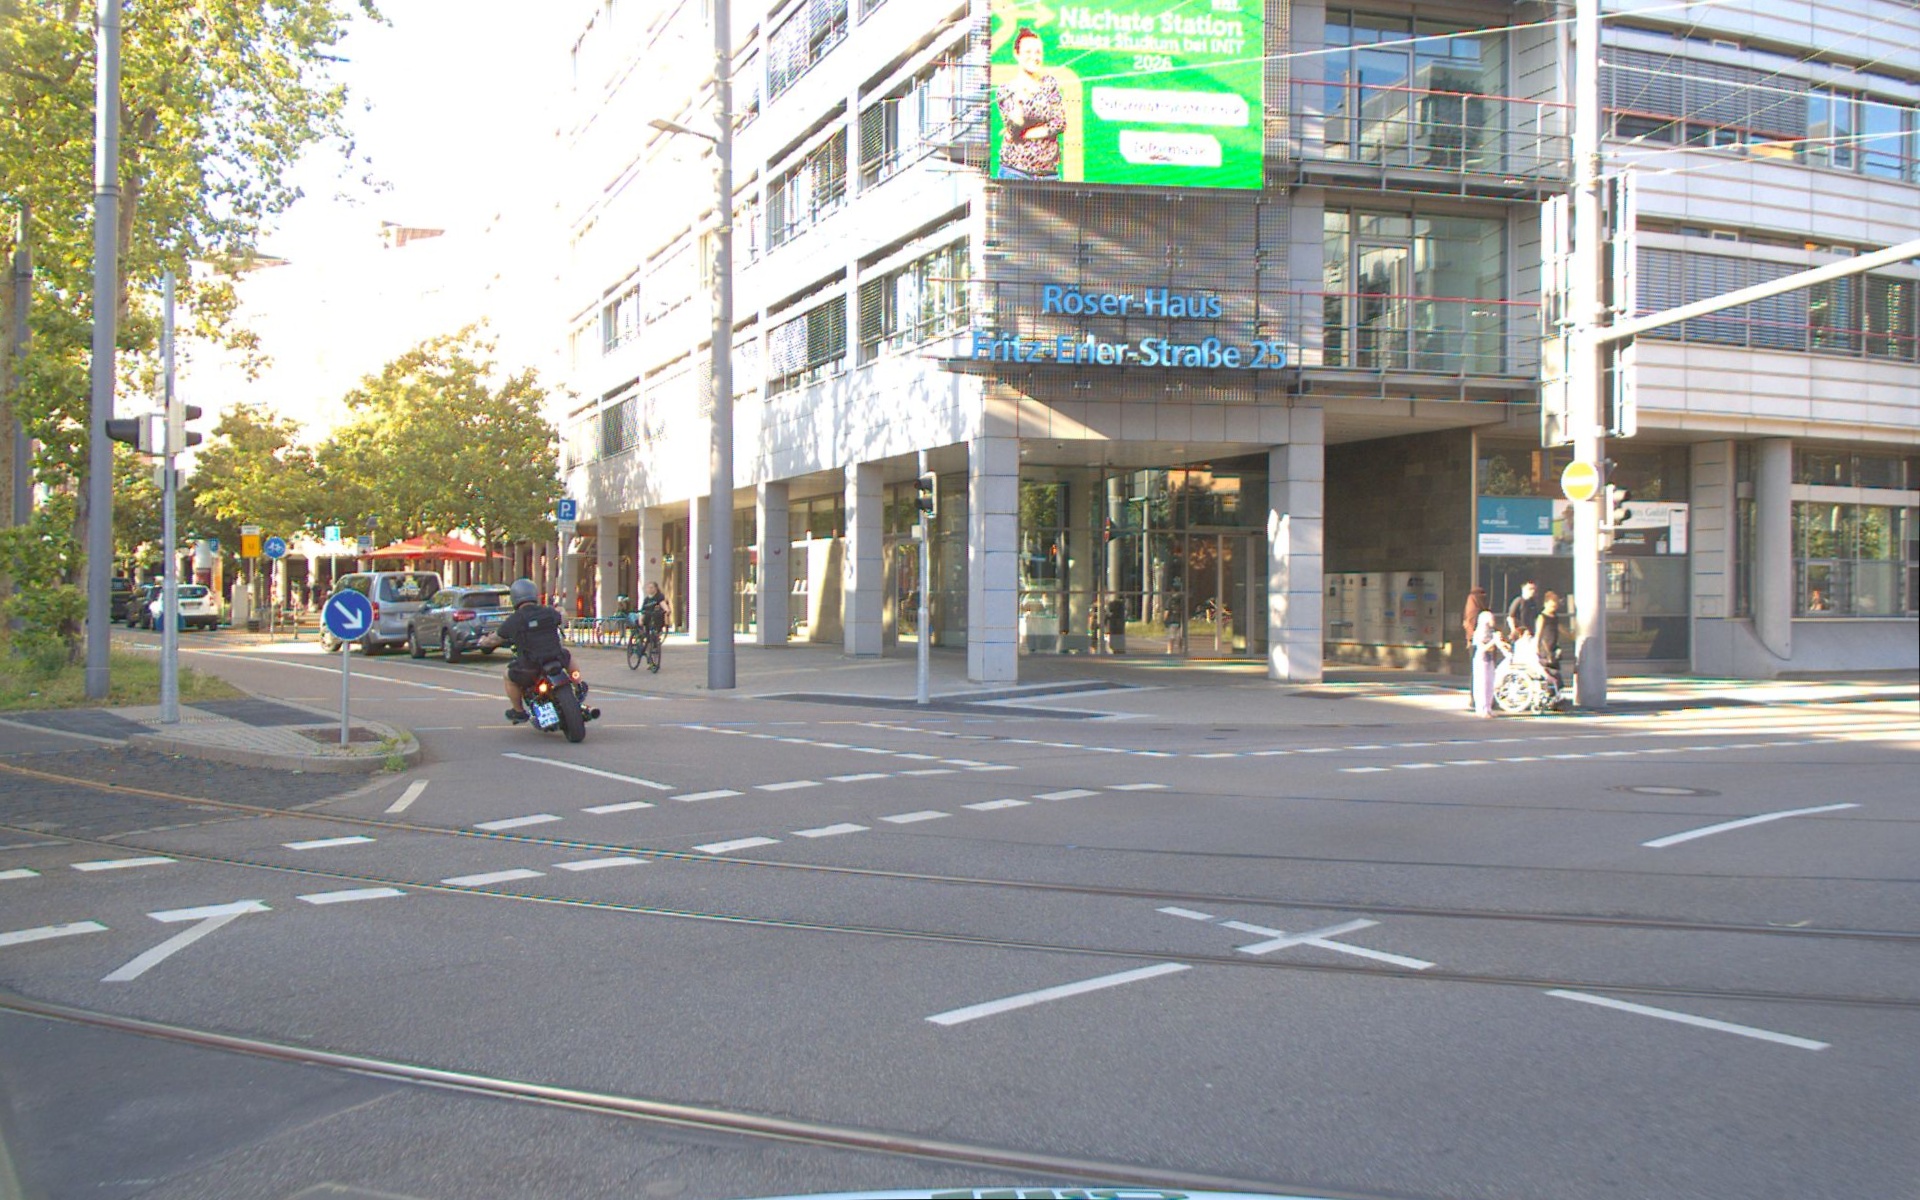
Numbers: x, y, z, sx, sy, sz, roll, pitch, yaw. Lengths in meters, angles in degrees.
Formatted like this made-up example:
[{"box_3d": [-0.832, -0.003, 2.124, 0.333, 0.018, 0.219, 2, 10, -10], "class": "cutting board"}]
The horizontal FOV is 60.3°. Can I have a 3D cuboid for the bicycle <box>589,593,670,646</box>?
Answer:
[{"box_3d": [-7.844, 0.449, 39.292, 1.814, 1.171, 0.465, -2, 1, -31], "class": "bicycle"}]

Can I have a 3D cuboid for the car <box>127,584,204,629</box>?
[{"box_3d": [-30.704, 0.228, 63.868, 1.972, 1.657, 4.032, -1, 1, -36], "class": "car"}]

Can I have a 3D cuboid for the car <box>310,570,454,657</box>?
[{"box_3d": [-13.954, 0.288, 39.766, 1.907, 1.875, 4.862, -3, 2, -36], "class": "car"}]

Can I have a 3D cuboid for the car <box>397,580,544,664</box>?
[{"box_3d": [-10.551, 0.418, 35.441, 1.842, 1.600, 4.365, -3, 2, -33], "class": "car"}]

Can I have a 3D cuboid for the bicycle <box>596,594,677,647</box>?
[{"box_3d": [-7.604, 0.462, 38.884, 1.814, 1.171, 0.465, -2, 1, -31], "class": "bicycle"}]

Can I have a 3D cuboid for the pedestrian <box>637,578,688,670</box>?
[{"box_3d": [-5.492, 0.428, 30.552, 0.599, 1.639, 0.827, -4, 3, -34], "class": "pedestrian"}]

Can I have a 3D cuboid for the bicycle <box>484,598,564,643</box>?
[{"box_3d": [-11.144, 0.507, 42.280, 1.855, 1.120, 0.730, 0, 0, -40], "class": "bicycle"}]

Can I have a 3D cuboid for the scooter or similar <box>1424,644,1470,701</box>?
[{"box_3d": [7.431, 1.104, 25.221, 0.603, 0.804, 0.660, 1, 1, 22], "class": "scooter or similar"}]

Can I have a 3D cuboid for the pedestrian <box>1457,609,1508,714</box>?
[{"box_3d": [7.271, 0.845, 22.997, 0.623, 1.426, 0.546, 0, 0, 23], "class": "pedestrian"}]

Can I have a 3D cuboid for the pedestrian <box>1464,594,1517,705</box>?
[{"box_3d": [7.980, 0.730, 24.872, 0.687, 1.628, 0.660, 1, 1, 22], "class": "pedestrian"}]

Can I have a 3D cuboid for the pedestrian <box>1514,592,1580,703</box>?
[{"box_3d": [8.893, 0.706, 25.064, 0.645, 1.645, 0.716, 0, 0, -29], "class": "pedestrian"}]

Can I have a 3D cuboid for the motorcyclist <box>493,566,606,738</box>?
[{"box_3d": [-4.015, 0.474, 16.127, 1.006, 1.579, 1.281, 0, 1, -17], "class": "motorcyclist"}]

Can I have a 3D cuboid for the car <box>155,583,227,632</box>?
[{"box_3d": [-27.469, 0.243, 59.009, 1.842, 1.666, 3.824, -1, 1, -33], "class": "car"}]

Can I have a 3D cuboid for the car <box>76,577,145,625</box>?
[{"box_3d": [-37.593, 0.010, 73.130, 2.015, 2.011, 4.357, -1, 1, -36], "class": "car"}]

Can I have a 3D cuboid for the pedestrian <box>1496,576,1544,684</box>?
[{"box_3d": [9.243, 0.484, 27.290, 0.632, 1.745, 0.689, 0, 0, 31], "class": "pedestrian"}]

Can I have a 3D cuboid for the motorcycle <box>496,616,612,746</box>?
[{"box_3d": [-3.995, 0.740, 16.144, 0.989, 1.145, 2.312, 0, 0, -17], "class": "motorcycle"}]

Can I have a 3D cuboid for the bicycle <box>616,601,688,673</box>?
[{"box_3d": [-5.664, 0.659, 30.372, 0.605, 1.183, 1.826, -4, 4, -33], "class": "bicycle"}]

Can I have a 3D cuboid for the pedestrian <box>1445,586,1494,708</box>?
[{"box_3d": [7.408, 0.669, 24.040, 0.623, 1.738, 0.581, 0, 0, 23], "class": "pedestrian"}]

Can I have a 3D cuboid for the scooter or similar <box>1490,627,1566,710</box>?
[{"box_3d": [8.144, 0.975, 23.705, 0.995, 1.149, 0.550, 0, 0, 24], "class": "scooter or similar"}]
